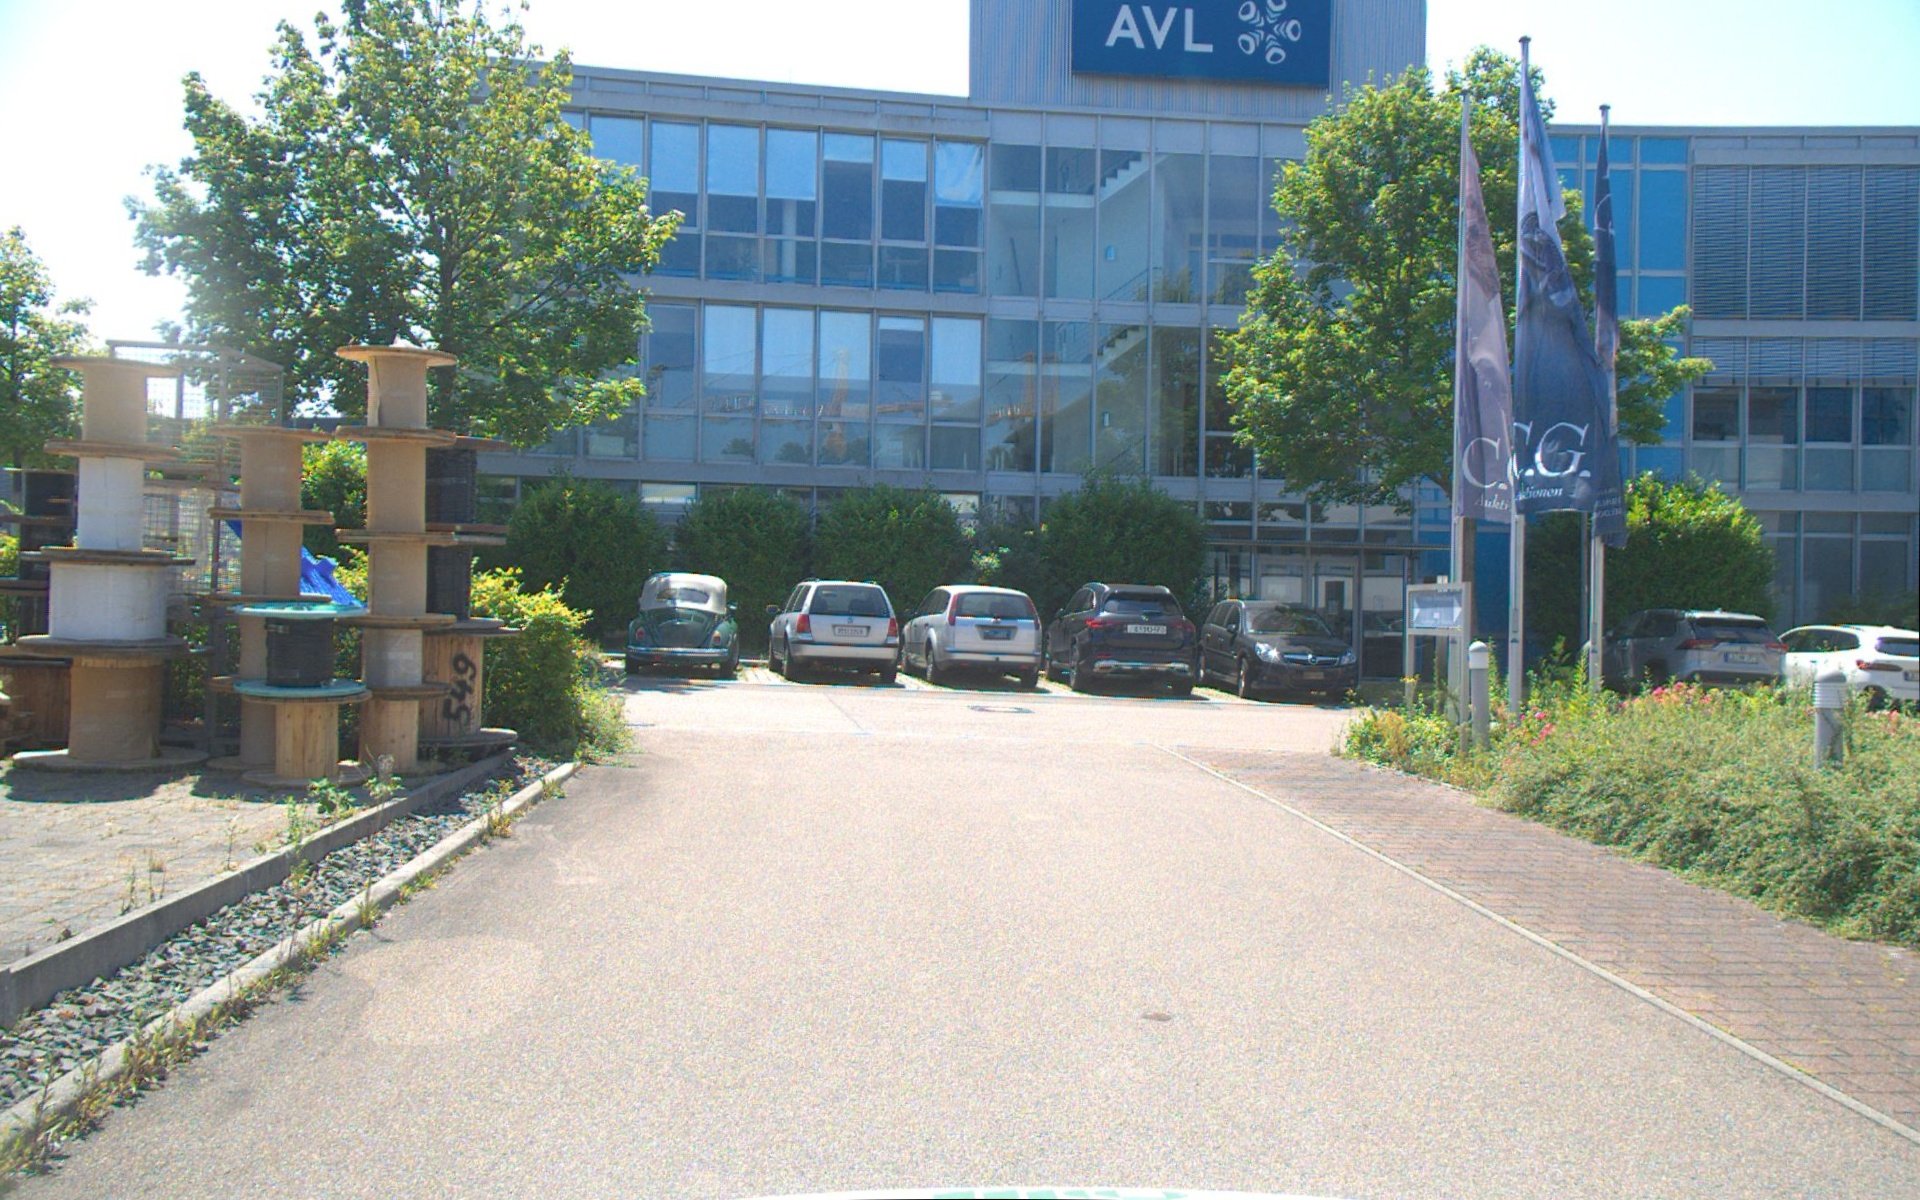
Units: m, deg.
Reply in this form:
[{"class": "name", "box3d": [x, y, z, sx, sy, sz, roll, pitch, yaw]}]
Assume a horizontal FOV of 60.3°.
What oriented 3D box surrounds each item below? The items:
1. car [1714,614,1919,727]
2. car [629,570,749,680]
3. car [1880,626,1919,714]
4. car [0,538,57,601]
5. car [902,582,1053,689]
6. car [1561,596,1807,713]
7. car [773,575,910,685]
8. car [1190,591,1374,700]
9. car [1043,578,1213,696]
[{"class": "car", "box3d": [14.262, 1.094, 26.850, 1.702, 1.517, 4.335, 3, 1, -6]}, {"class": "car", "box3d": [-4.031, 0.320, 25.039, 1.512, 1.474, 3.649, 3, 1, -6]}, {"class": "car", "box3d": [17.004, 1.248, 27.026, 1.699, 1.454, 4.342, 3, 1, 4]}, {"class": "car", "box3d": [-25.366, -0.848, 41.240, 4.736, 1.517, 2.002, 3, 1, 10]}, {"class": "car", "box3d": [0.205, 0.508, 26.315, 1.733, 1.474, 3.646, 3, 1, -10]}, {"class": "car", "box3d": [11.711, 0.824, 27.099, 1.784, 1.648, 4.335, 2, 1, -5]}, {"class": "car", "box3d": [-1.895, 0.405, 25.495, 1.700, 1.474, 3.646, 3, 1, -10]}, {"class": "car", "box3d": [5.063, 0.668, 26.599, 1.735, 1.507, 4.254, 2, 1, -5]}, {"class": "car", "box3d": [2.582, 0.522, 26.379, 1.890, 1.638, 3.982, 3, 1, -6]}]
